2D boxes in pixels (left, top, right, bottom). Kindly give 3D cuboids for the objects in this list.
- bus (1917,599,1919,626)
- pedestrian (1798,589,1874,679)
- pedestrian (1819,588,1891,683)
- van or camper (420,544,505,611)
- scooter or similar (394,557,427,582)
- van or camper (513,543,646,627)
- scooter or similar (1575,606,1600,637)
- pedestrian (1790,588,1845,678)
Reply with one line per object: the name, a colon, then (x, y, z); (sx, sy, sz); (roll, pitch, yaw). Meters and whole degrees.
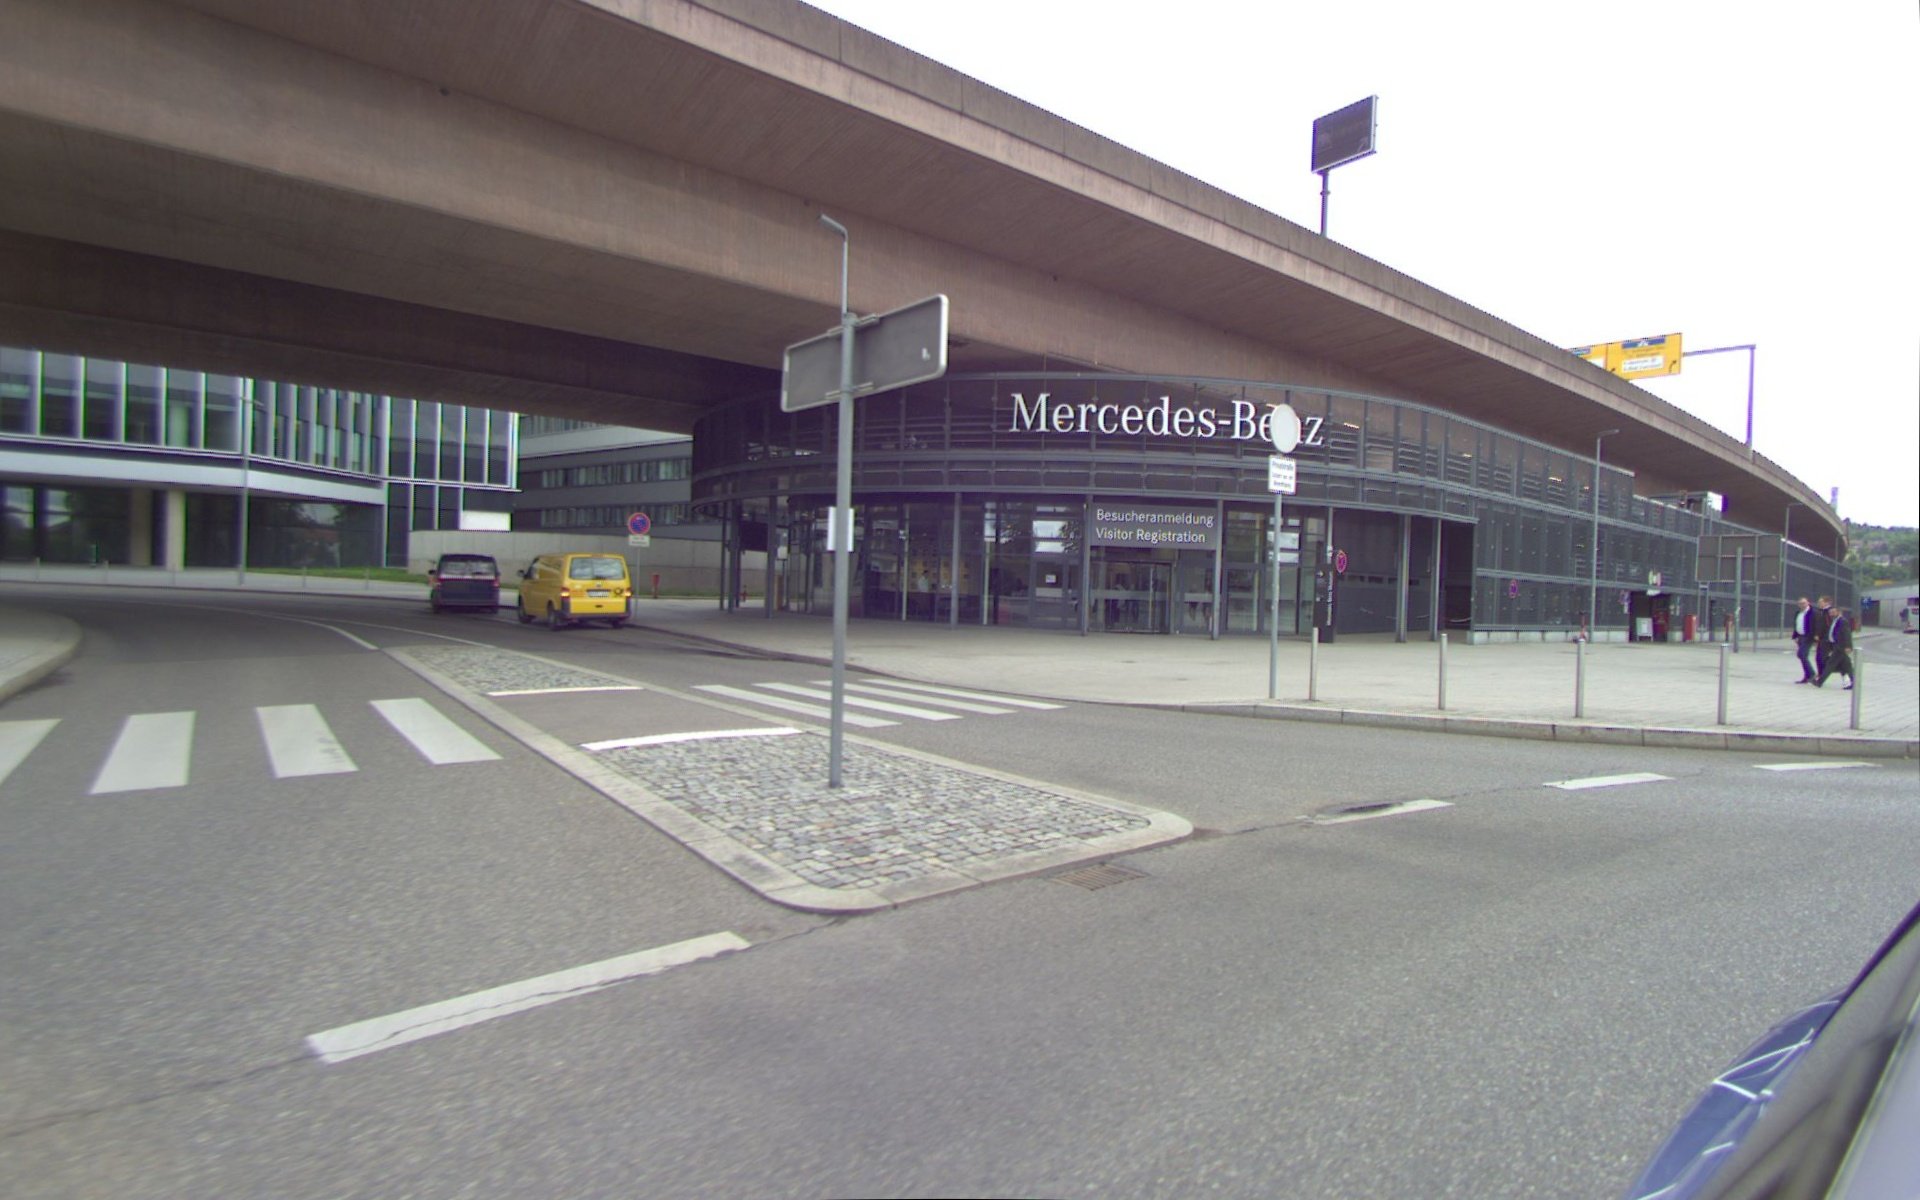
bus: (128.993, 1.823, 134.215); (2.923, 3.484, 6.856); (3, 1, 44)
pedestrian: (17.552, 0.657, 20.290); (0.759, 1.726, 0.785); (3, 0, 7)
pedestrian: (17.103, 0.656, 19.361); (0.765, 1.726, 0.857); (3, 0, 27)
van or camper: (-16.066, -0.752, 32.915); (2.109, 1.916, 4.912); (3, 1, -23)
scooter or similar: (-27.098, -1.498, 49.926); (1.488, 1.119, 0.694); (3, 1, 28)
van or camper: (-10.237, -0.453, 27.014); (2.317, 2.024, 4.507); (0, 2, -35)
scooter or similar: (23.963, 0.823, 38.643); (1.402, 1.137, 0.380); (3, 0, -40)
pedestrian: (18.032, 0.681, 21.295); (0.779, 1.821, 0.853); (3, 0, 39)
